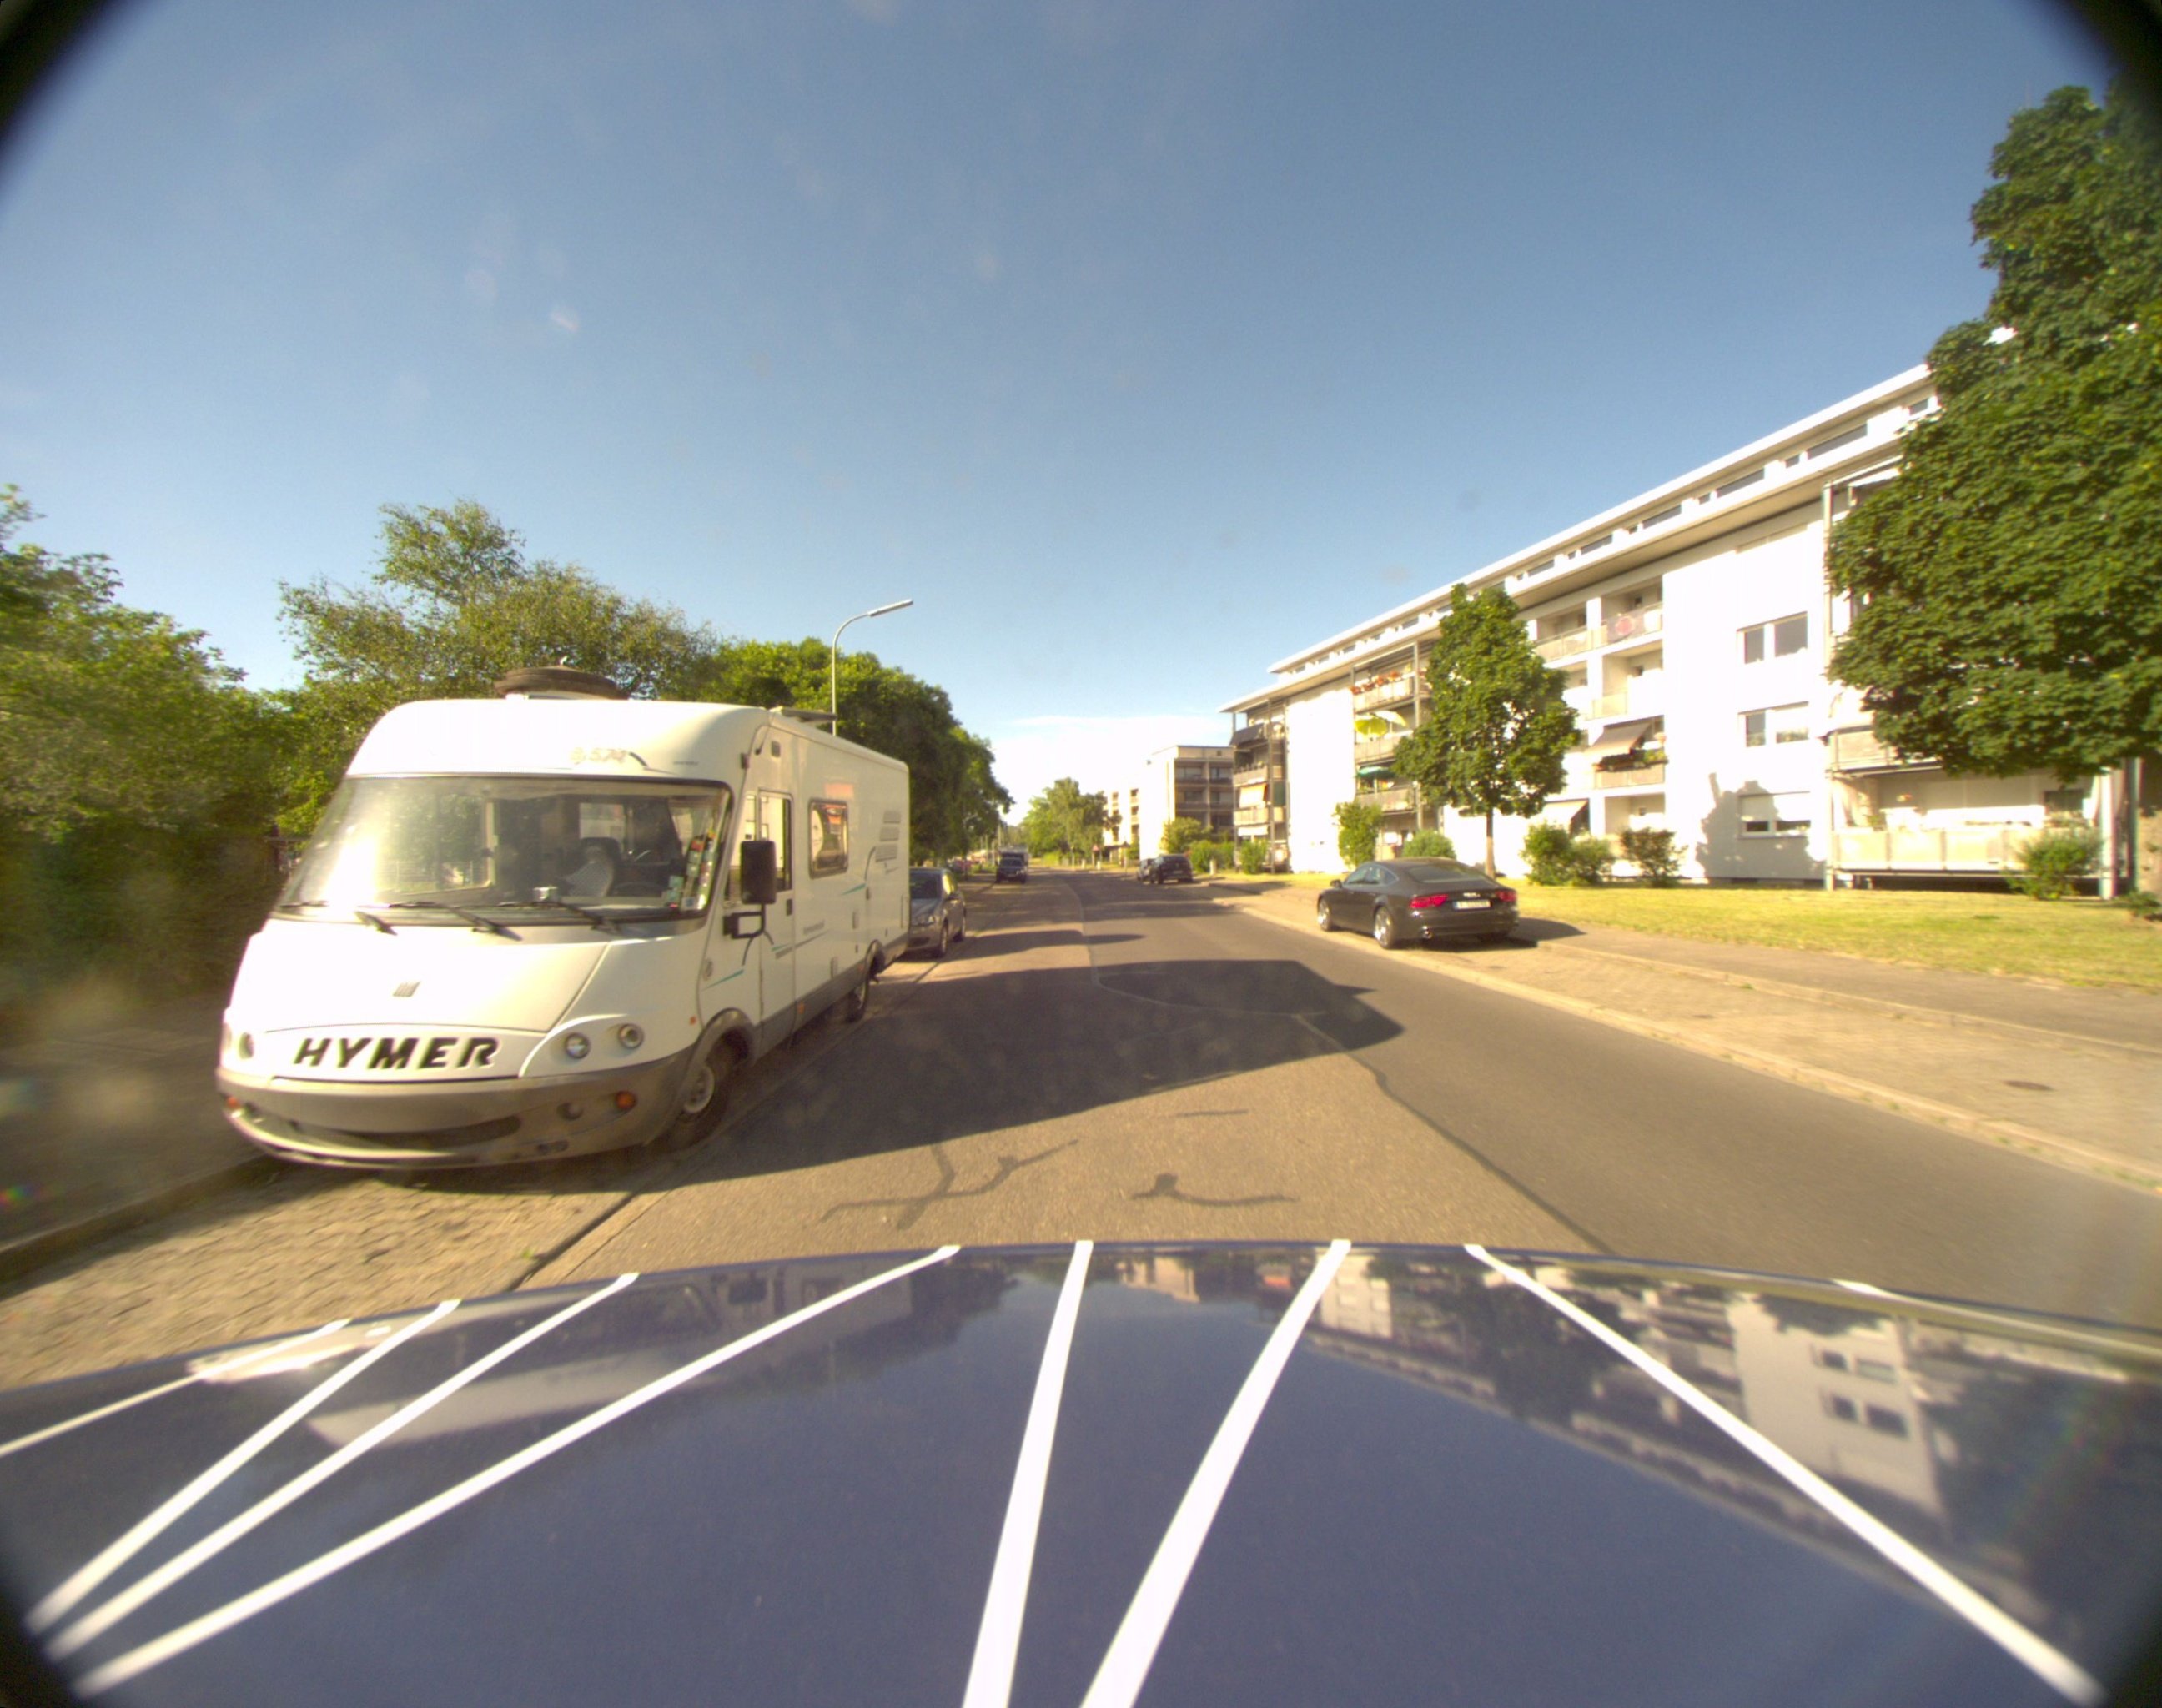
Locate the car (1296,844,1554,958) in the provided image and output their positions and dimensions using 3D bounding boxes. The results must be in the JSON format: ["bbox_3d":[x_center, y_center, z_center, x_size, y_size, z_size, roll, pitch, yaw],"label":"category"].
[{"bbox_3d":[5.579,0.663,13.303,2.040,1.484,5.255,-3,0,0],"label":"car"}]

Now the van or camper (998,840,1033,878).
[{"bbox_3d":[-4.837,0.379,56.708,2.358,2.581,6.423,2,0,-4],"label":"van or camper"}]

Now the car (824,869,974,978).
[{"bbox_3d":[-3.072,1.108,13.753,1.725,1.515,4.427,2,0,-2],"label":"car"}]

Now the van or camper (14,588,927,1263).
[{"bbox_3d":[-3.243,0.298,6.630,2.503,2.828,6.850,0,0,-1],"label":"van or camper"}]

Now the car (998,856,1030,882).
[{"bbox_3d":[-4.427,0.961,49.934,2.000,1.631,4.534,1,0,-6],"label":"car"}]

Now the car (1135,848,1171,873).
[{"bbox_3d":[4.526,0.394,48.359,1.651,1.458,4.329,-2,0,-3],"label":"car"}]

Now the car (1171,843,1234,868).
[{"bbox_3d":[12.160,0.165,76.201,5.923,2.414,2.212,0,-1,-6],"label":"car"}]

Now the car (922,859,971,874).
[{"bbox_3d":[-13.166,1.220,74.526,4.437,1.329,1.746,-2,-1,-1],"label":"car"}]

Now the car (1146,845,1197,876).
[{"bbox_3d":[4.938,0.321,42.082,1.920,1.594,4.809,-1,0,-4],"label":"car"}]
